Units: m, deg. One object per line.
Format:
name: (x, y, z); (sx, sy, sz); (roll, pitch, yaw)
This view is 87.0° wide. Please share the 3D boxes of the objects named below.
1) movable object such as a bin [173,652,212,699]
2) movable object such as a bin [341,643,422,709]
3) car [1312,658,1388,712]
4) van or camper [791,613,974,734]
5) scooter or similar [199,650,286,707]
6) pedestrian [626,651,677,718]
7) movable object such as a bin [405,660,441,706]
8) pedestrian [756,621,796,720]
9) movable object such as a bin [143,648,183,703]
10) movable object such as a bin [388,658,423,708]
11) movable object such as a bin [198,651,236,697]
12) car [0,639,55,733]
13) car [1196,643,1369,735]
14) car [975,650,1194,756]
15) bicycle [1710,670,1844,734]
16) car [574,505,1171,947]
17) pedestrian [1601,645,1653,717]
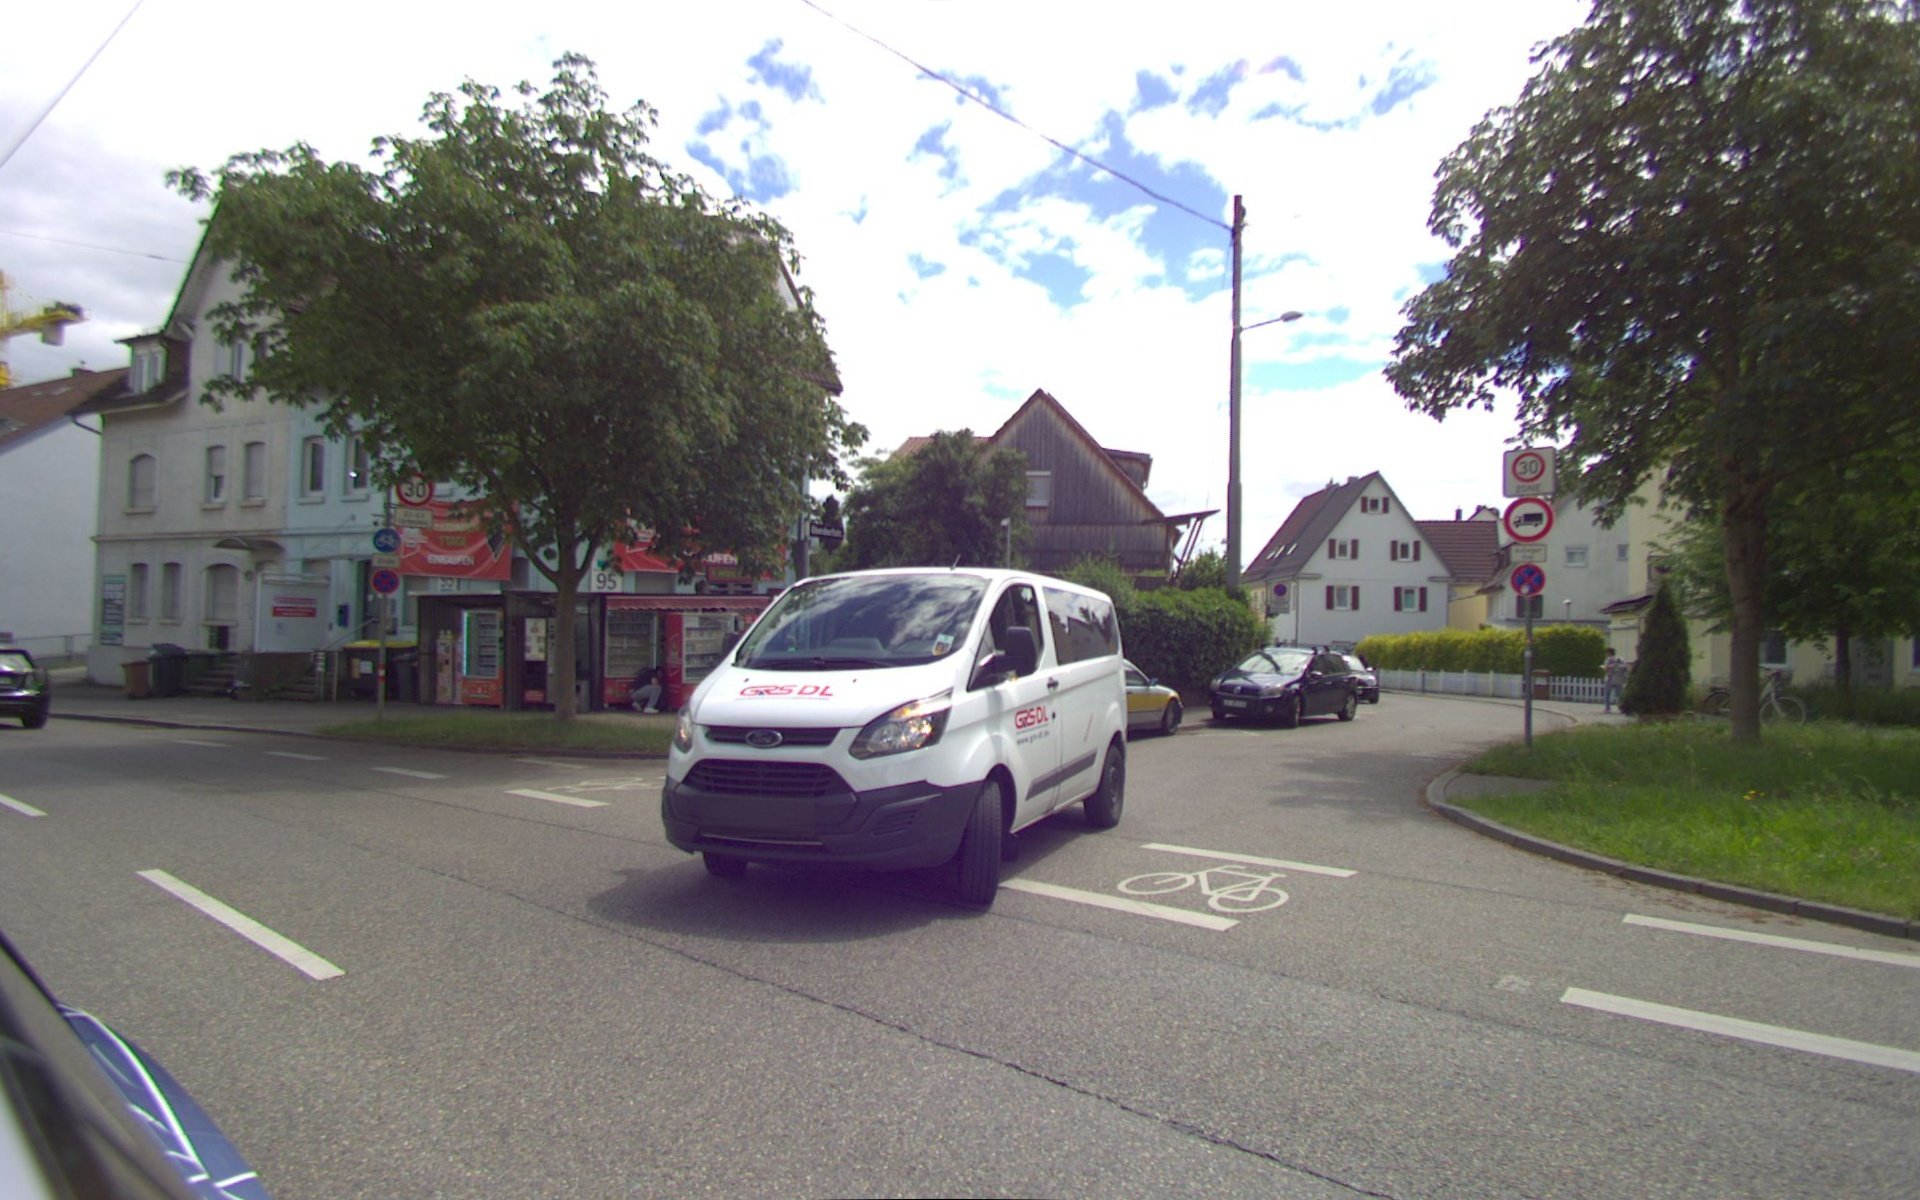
movable object such as a bin: (-19.007, 1.865, 25.073); (0.559, 1.109, 0.562); (0, 0, 21)
movable object such as a bin: (-12.852, 1.664, 22.491); (1.239, 1.365, 1.015); (0, -1, 24)
car: (11.752, 2.524, 30.702); (1.578, 1.332, 3.762); (2, -1, 13)
van or camper: (-1.611, 1.285, 19.197); (1.760, 2.009, 4.393); (2, -2, -29)
scooter or similar: (-16.380, 1.772, 23.147); (0.543, 1.193, 1.545); (0, -1, 25)
pedestrian: (-6.140, 1.670, 20.144); (0.734, 1.281, 0.621); (0, -1, 21)
movable object such as a bin: (-11.526, 1.769, 21.728); (0.515, 0.939, 0.444); (0, -1, 24)
pedestrian: (-3.630, 1.374, 20.011); (0.559, 1.910, 0.622); (0, -1, 14)
movable object such as a bin: (-19.231, 1.808, 24.431); (0.559, 1.282, 0.562); (-1, -1, 21)
movable object such as a bin: (-12.012, 1.787, 21.945); (0.515, 1.048, 0.430); (0, -1, 24)
movable object such as a bin: (-18.824, 1.861, 25.653); (0.559, 1.109, 0.562); (0, 0, 21)
car: (-17.235, 1.371, 17.134); (4.213, 1.493, 1.674); (-1, -6, 33)
car: (6.560, 1.696, 20.351); (1.816, 1.560, 3.945); (1, -1, 42)
car: (2.159, 1.577, 16.625); (1.813, 1.424, 3.979); (0, -2, 37)
bicycle: (13.498, 1.654, 16.813); (0.458, 0.866, 2.224); (1, -1, 2)
car: (-0.054, 0.771, 7.433); (2.096, 2.009, 5.186); (-1, -5, 24)
pedestrian: (15.477, 1.869, 23.485); (0.813, 1.607, 0.726); (-7, -6, 39)
